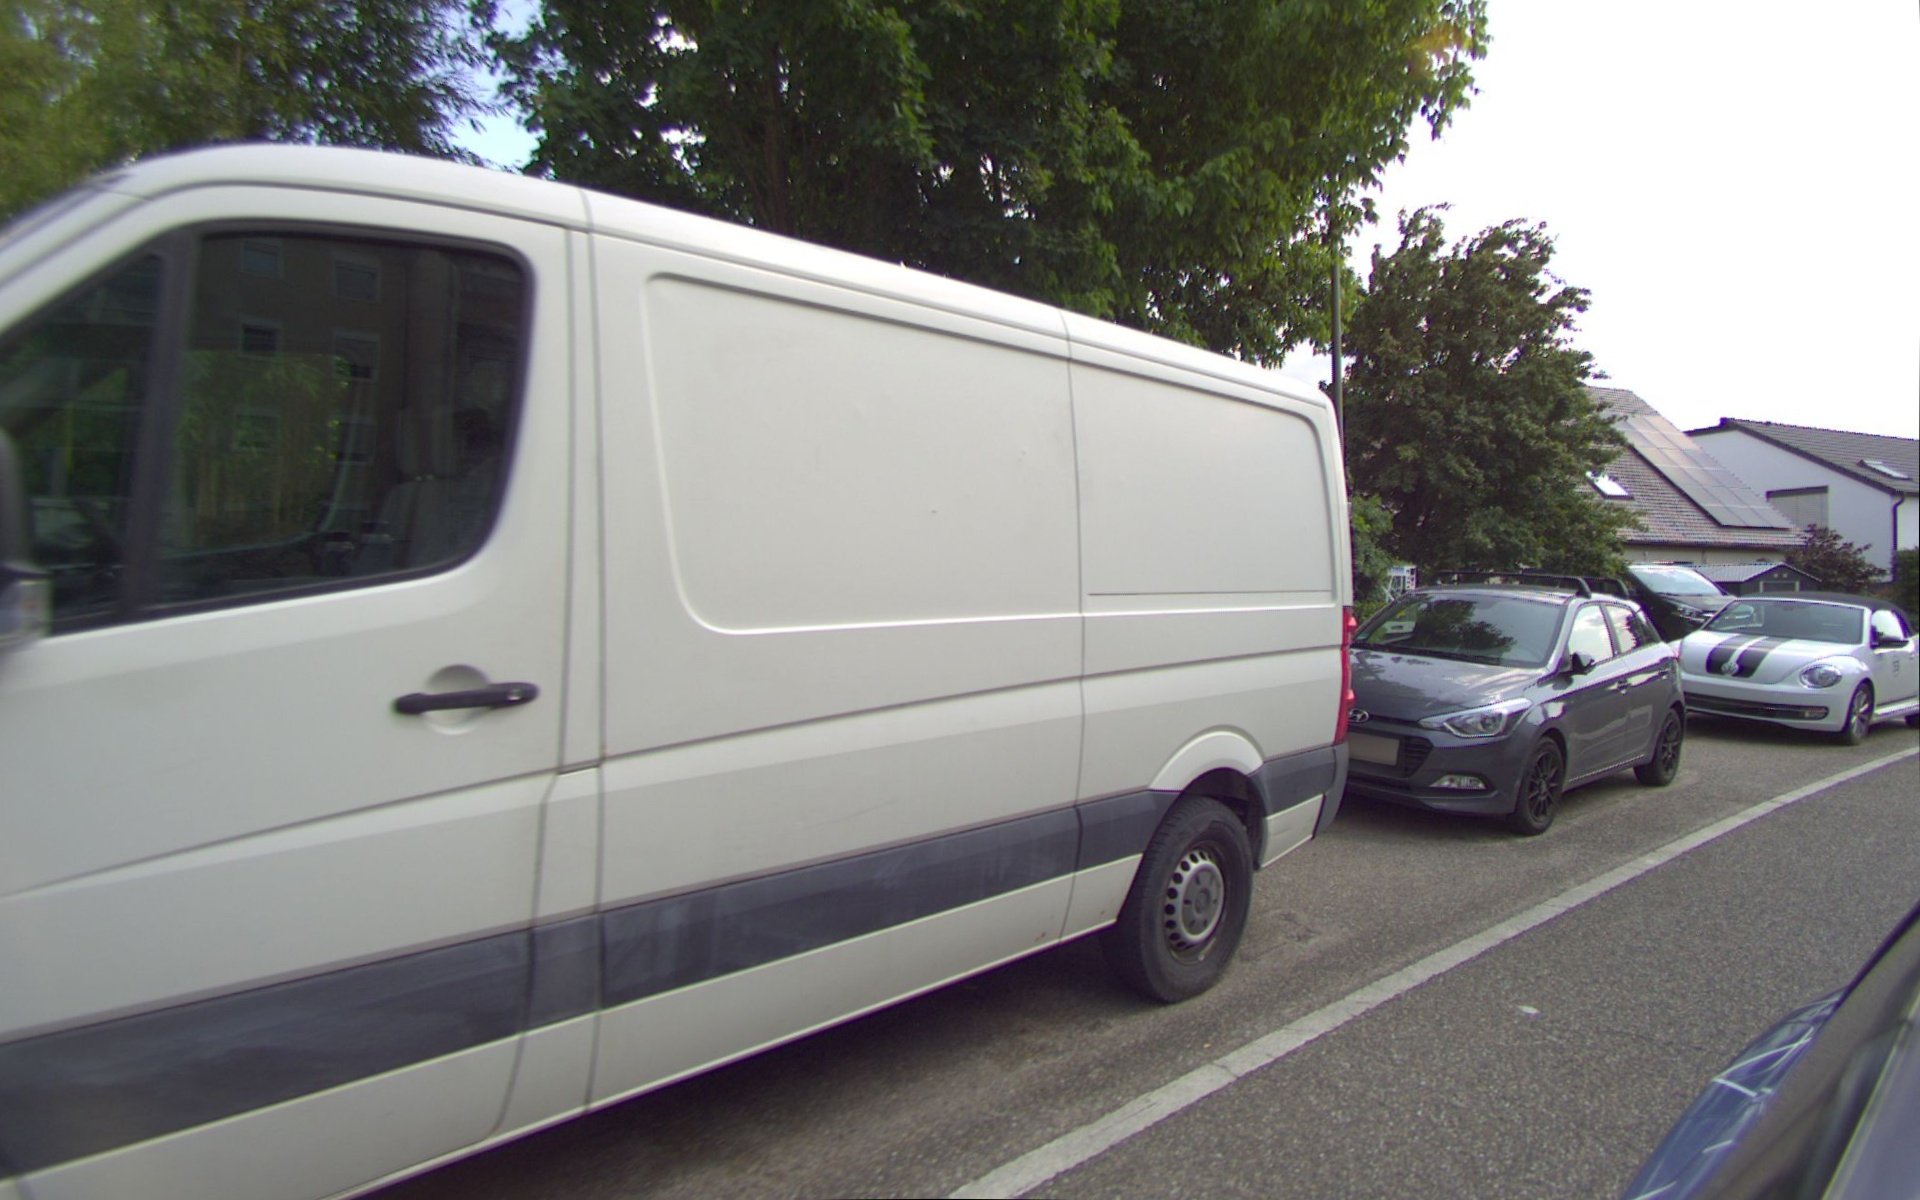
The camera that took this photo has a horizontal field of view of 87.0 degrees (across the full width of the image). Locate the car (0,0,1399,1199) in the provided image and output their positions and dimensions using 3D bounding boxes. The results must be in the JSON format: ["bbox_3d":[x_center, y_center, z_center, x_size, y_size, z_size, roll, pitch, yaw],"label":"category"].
[{"bbox_3d":[-0.935,0.115,3.251,5.793,2.472,2.120,0,0,-42],"label":"car"}]

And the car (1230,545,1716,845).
[{"bbox_3d":[3.902,0.509,7.395,4.050,1.605,1.721,0,0,-40],"label":"car"}]

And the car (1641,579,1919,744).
[{"bbox_3d":[9.660,0.578,11.374,4.371,1.531,1.746,0,0,-33],"label":"car"}]

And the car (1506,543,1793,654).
[{"bbox_3d":[14.400,-0.023,21.658,1.959,2.083,5.365,0,0,-8],"label":"car"}]
